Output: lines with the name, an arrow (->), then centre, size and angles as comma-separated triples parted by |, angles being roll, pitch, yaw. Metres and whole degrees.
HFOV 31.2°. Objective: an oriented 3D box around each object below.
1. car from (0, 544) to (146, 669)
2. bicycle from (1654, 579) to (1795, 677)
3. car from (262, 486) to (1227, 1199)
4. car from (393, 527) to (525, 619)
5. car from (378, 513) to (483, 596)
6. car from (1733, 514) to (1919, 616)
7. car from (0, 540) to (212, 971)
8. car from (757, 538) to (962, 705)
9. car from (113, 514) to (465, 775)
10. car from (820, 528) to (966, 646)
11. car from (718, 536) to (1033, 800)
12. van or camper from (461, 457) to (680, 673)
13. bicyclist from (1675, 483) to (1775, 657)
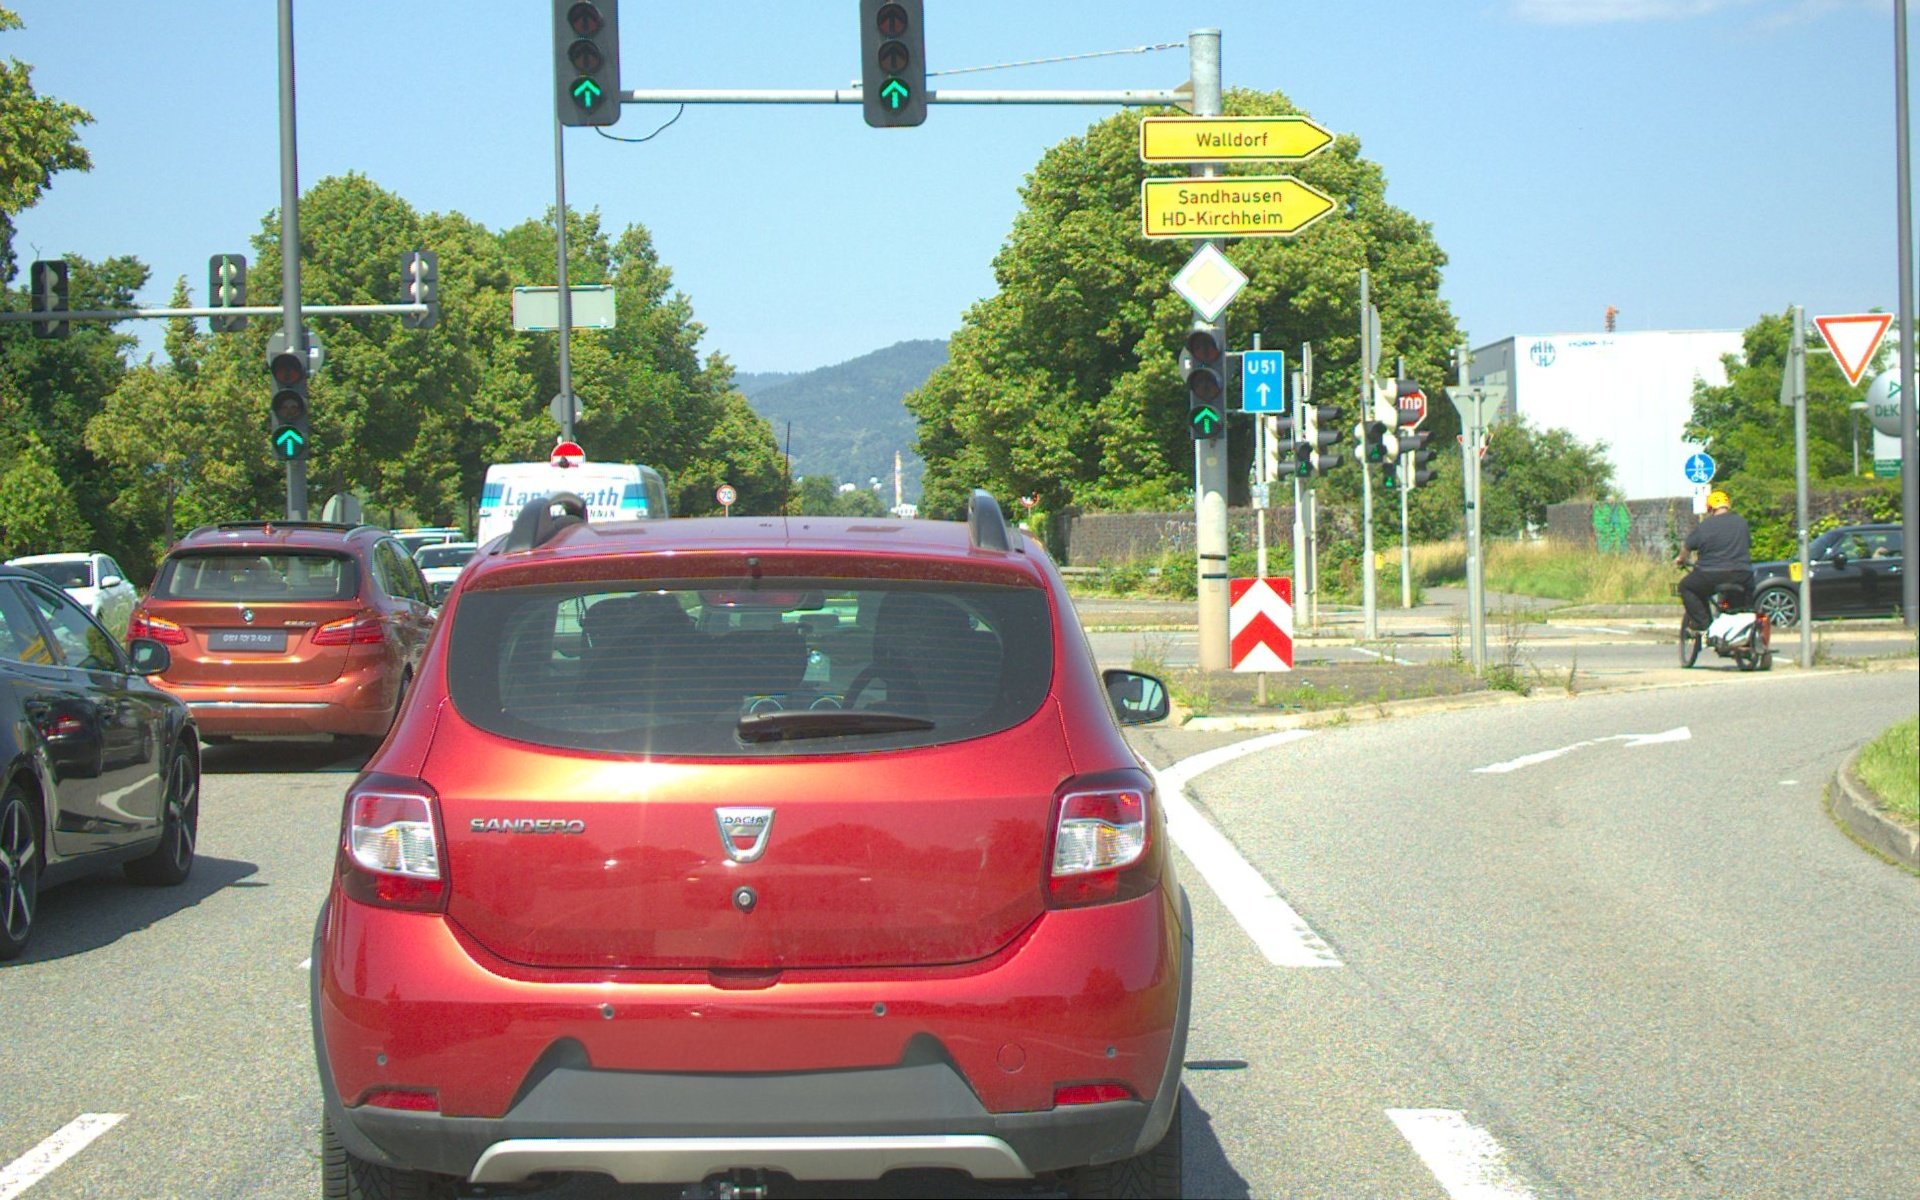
car -> -12.542, 0.056, 47.566 | 1.745, 1.612, 4.136 | -1, 1, -3
bicycle -> 7.920, 0.271, 35.732 | 0.761, 0.911, 2.780 | -1, 1, -2
car -> -0.363, 0.545, 8.071 | 1.749, 1.570, 3.676 | 0, 1, 1
car -> -9.539, -0.542, 65.714 | 1.993, 1.664, 4.000 | -1, 1, -1
car -> -13.181, -1.155, 85.826 | 1.993, 1.973, 5.017 | -1, 1, -2
car -> 12.632, -0.492, 46.879 | 3.989, 1.322, 1.805 | -1, 1, 11
car -> -4.150, 0.512, 13.180 | 1.702, 1.437, 3.956 | 1, 2, 0
car -> -0.889, 0.159, 32.187 | 1.749, 1.453, 3.676 | 0, 1, 1
car -> -4.421, 0.231, 23.183 | 1.724, 1.594, 3.956 | 0, 1, -2
car -> -0.827, -0.198, 44.294 | 1.749, 1.453, 3.676 | 0, 1, 1
car -> -0.443, 0.348, 21.006 | 1.749, 1.453, 3.676 | 0, 1, 1
van or camper -> -4.350, -0.417, 39.096 | 2.179, 2.295, 4.827 | 0, 1, -3
bicyclist -> 7.913, -0.319, 35.587 | 0.802, 1.765, 0.809 | -1, 1, -2
